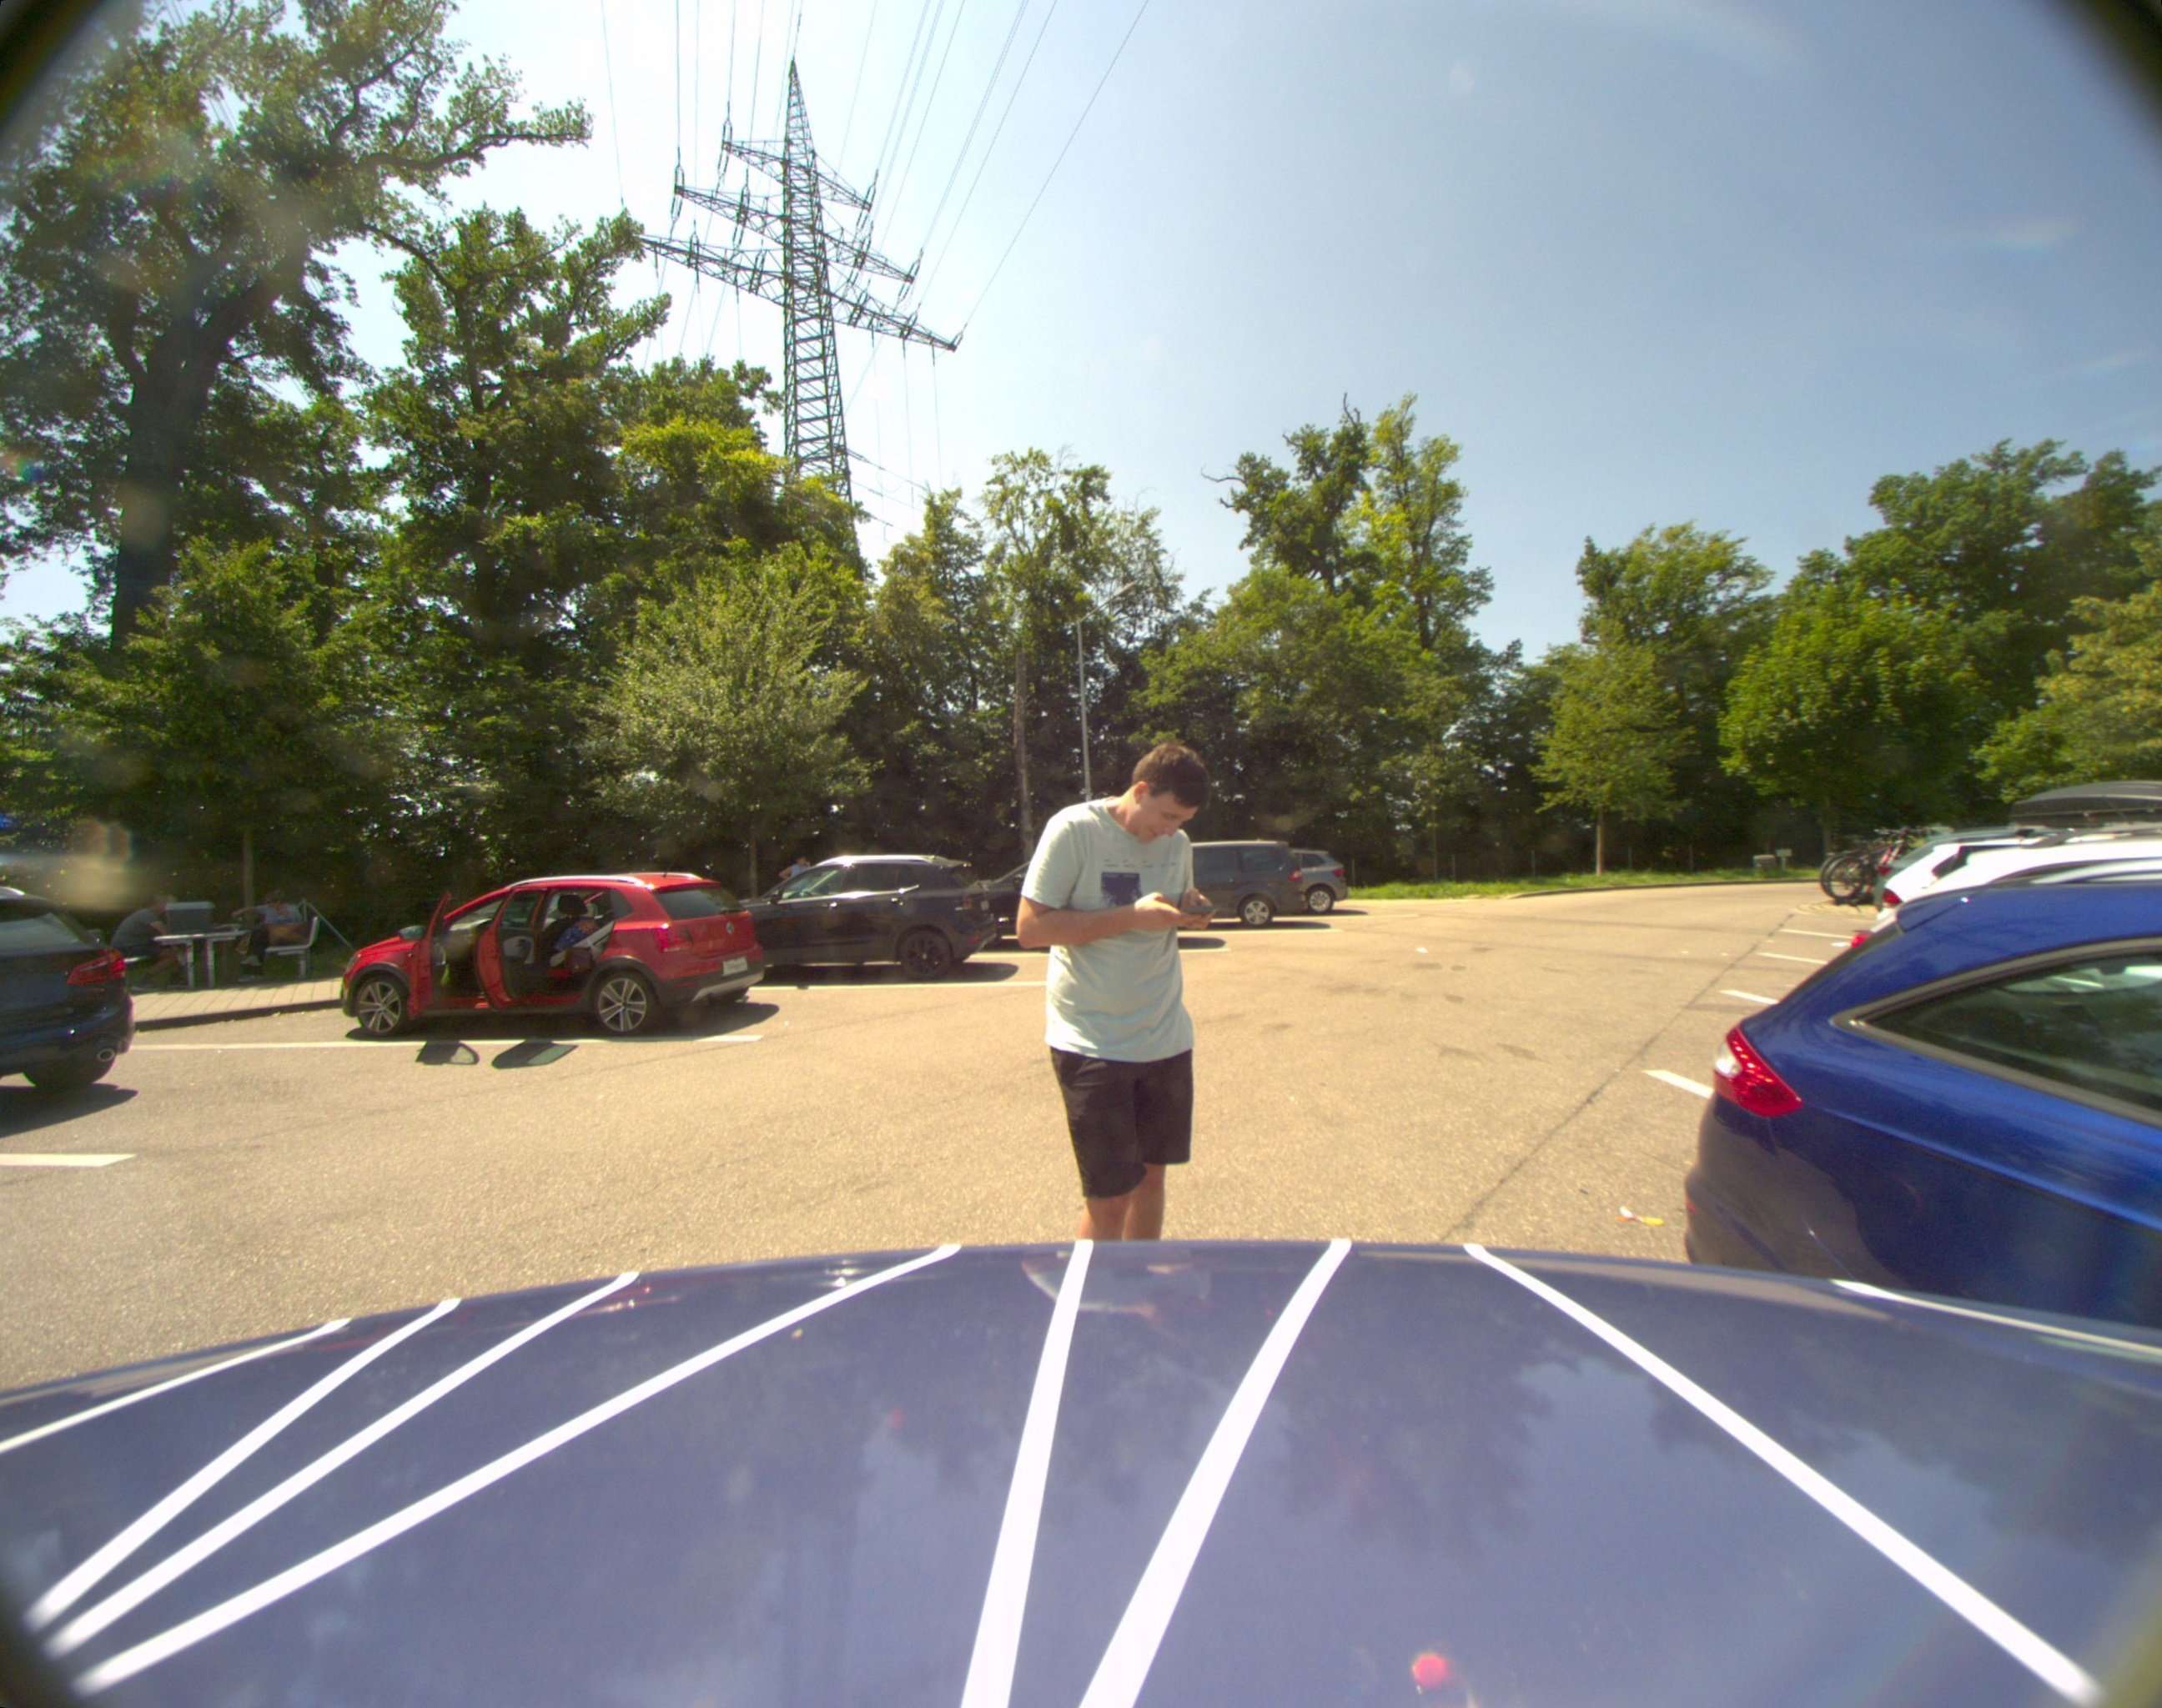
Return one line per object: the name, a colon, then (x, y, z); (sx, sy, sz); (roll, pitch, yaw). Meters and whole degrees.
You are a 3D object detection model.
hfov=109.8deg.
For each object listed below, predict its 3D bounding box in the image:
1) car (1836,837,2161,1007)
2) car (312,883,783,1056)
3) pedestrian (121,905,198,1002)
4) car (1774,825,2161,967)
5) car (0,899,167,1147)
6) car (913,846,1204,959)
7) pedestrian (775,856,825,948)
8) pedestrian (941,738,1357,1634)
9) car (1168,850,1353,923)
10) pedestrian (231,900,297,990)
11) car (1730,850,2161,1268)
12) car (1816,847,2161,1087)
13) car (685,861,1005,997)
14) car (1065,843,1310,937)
car: (10.108, 0.566, 6.895); (1.777, 1.418, 4.493); (-3, -1, -5)
car: (-5.190, 1.089, 7.631); (3.730, 1.440, 1.591); (-2, 0, 7)
pedestrian: (-12.633, 1.340, 10.432); (0.695, 1.228, 0.588); (-3, 0, 43)
car: (12.539, 0.471, 10.366); (1.777, 1.541, 4.493); (-3, -1, -5)
car: (-8.885, 1.162, 4.986); (3.934, 1.534, 1.812); (-2, 0, 7)
car: (-0.269, 0.788, 13.033); (4.610, 1.703, 2.001); (-2, 1, 10)
pedestrian: (-5.796, 0.976, 15.678); (0.767, 1.821, 0.519); (-3, 2, -41)
pedestrian: (0.173, 0.710, 2.140); (0.862, 1.940, 0.687); (-3, 1, -30)
car: (4.141, 0.737, 18.005); (3.996, 1.495, 1.687); (-2, 1, 3)
pedestrian: (-11.952, 1.306, 11.121); (0.695, 1.228, 0.588); (-3, 0, 43)
car: (4.872, 0.738, 2.349); (1.776, 1.491, 4.495); (-3, -1, -1)
car: (7.475, 0.670, 4.508); (1.776, 1.418, 4.495); (-3, -1, -1)
car: (-3.034, 0.946, 10.309); (3.732, 1.578, 1.739); (-2, 0, 2)
car: (2.138, 0.707, 15.466); (4.619, 1.701, 1.740); (-2, 0, 9)
